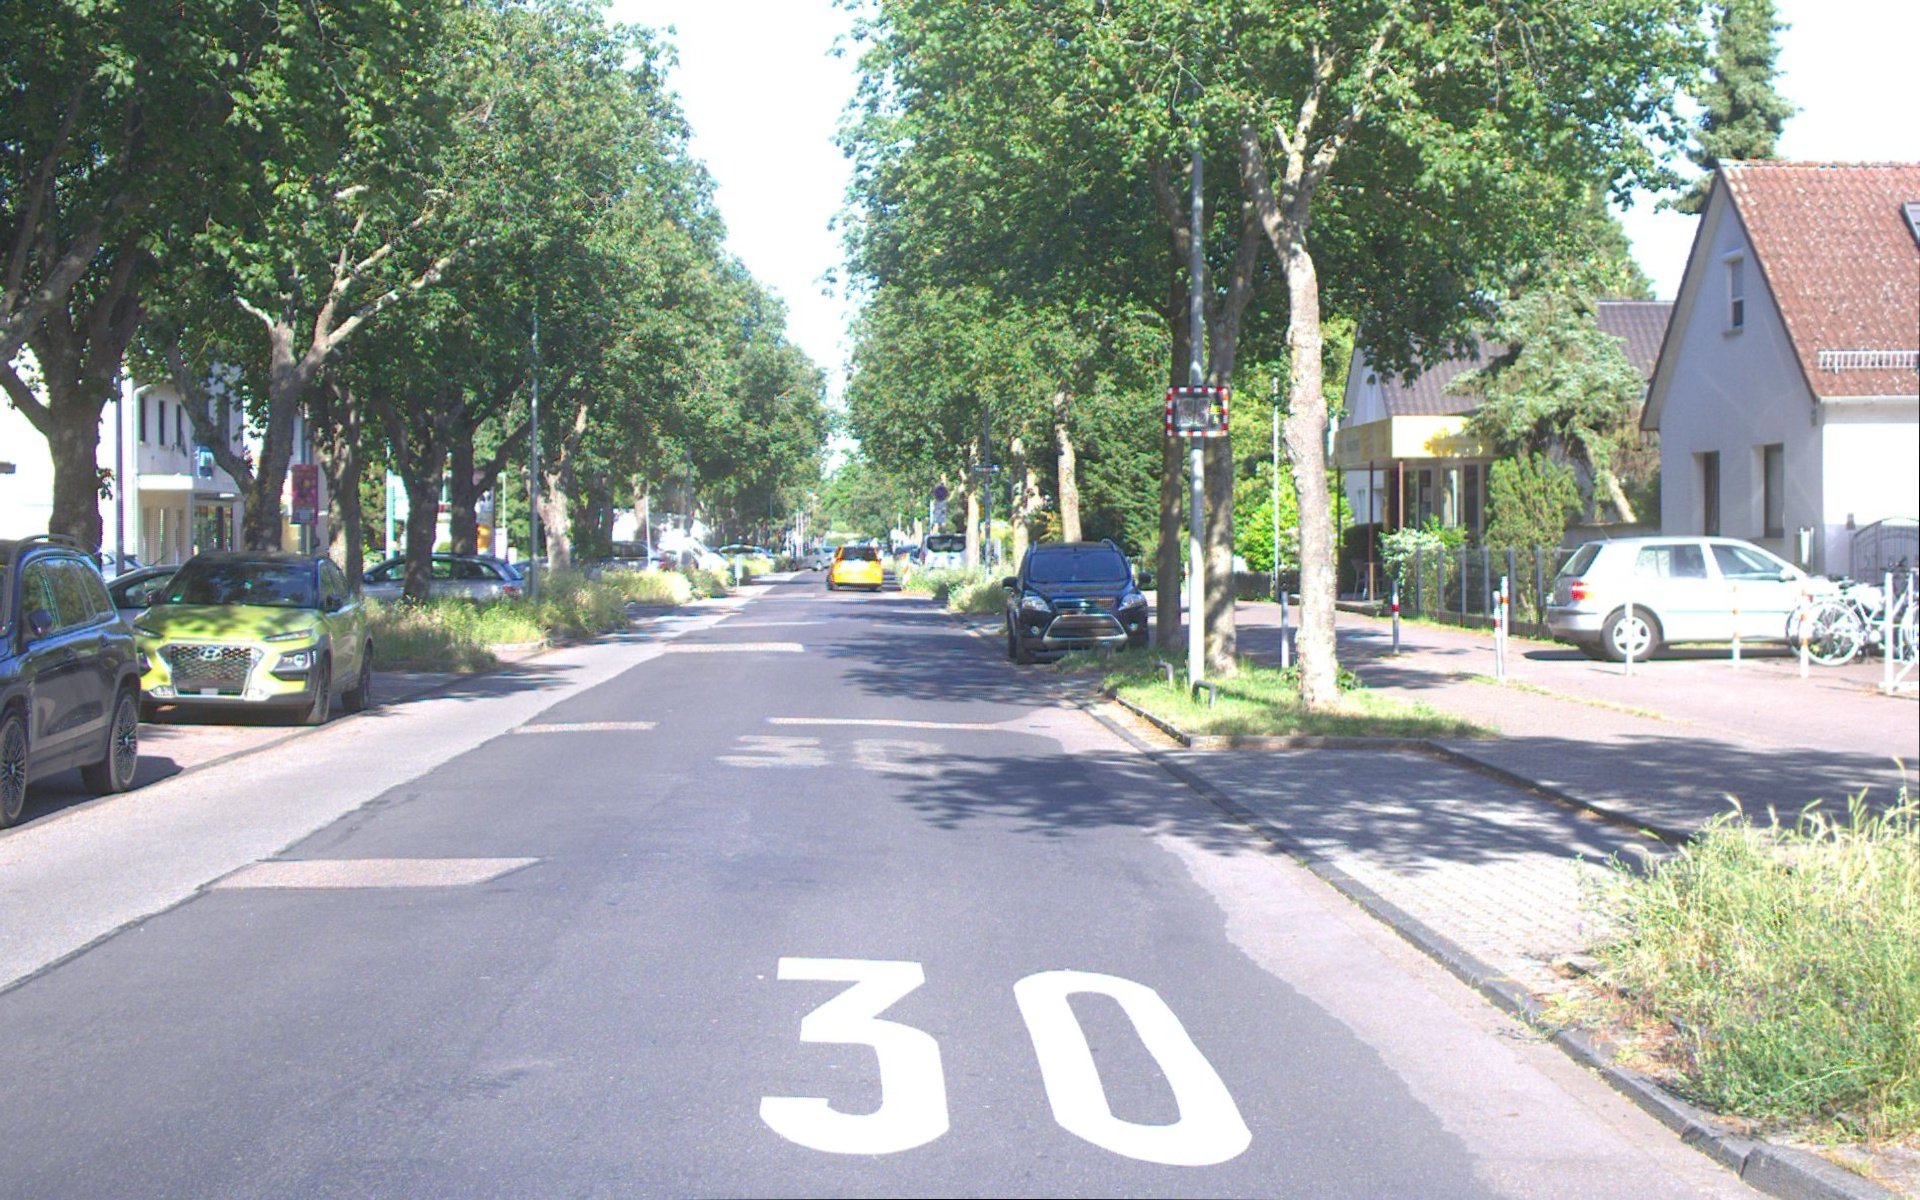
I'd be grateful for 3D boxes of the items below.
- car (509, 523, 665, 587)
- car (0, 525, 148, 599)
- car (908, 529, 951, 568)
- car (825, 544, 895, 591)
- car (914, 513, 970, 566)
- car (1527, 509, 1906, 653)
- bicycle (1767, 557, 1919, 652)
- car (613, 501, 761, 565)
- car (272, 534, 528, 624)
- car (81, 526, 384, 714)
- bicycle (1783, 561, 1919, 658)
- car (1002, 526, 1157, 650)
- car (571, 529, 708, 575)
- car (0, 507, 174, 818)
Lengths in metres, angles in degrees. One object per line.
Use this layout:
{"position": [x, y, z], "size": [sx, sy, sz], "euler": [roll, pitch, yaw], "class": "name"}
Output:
{"position": [-11.108, -1.343, 102.484], "size": [4.545, 1.759, 2.001], "euler": [1, 3, -6], "class": "car"}
{"position": [-21.716, -0.911, 81.485], "size": [4.553, 1.612, 2.001], "euler": [1, 3, -5], "class": "car"}
{"position": [-1.447, -2.398, 159.801], "size": [1.902, 1.768, 4.301], "euler": [1, 1, -1], "class": "car"}
{"position": [-3.419, -1.115, 117.206], "size": [1.887, 1.474, 3.889], "euler": [2, 1, -8], "class": "car"}
{"position": [-0.659, -2.134, 121.681], "size": [1.902, 1.768, 4.301], "euler": [1, 1, -1], "class": "car"}
{"position": [8.891, -0.245, 40.633], "size": [3.986, 1.483, 1.902], "euler": [-2, 3, -2], "class": "car"}
{"position": [10.090, 0.045, 38.551], "size": [1.923, 0.995, 0.576], "euler": [-2, 3, -3], "class": "bicycle"}
{"position": [-10.317, -2.541, 130.480], "size": [5.497, 2.240, 2.517], "euler": [1, 3, -3], "class": "car"}
{"position": [-10.553, -0.409, 65.044], "size": [4.554, 1.506, 1.841], "euler": [1, 3, -2], "class": "car"}
{"position": [-6.760, 0.163, 32.395], "size": [1.939, 1.603, 4.384], "euler": [1, 0, -1], "class": "car"}
{"position": [10.053, 0.092, 37.562], "size": [1.957, 0.995, 0.576], "euler": [-2, 3, -3], "class": "bicycle"}
{"position": [1.642, -0.184, 48.680], "size": [1.853, 1.620, 4.470], "euler": [-2, 1, -2], "class": "car"}
{"position": [-10.184, -1.529, 109.206], "size": [4.286, 1.310, 1.910], "euler": [1, 3, -6], "class": "car"}
{"position": [-6.296, 0.318, 20.851], "size": [1.953, 1.721, 4.875], "euler": [1, 0, -1], "class": "car"}
